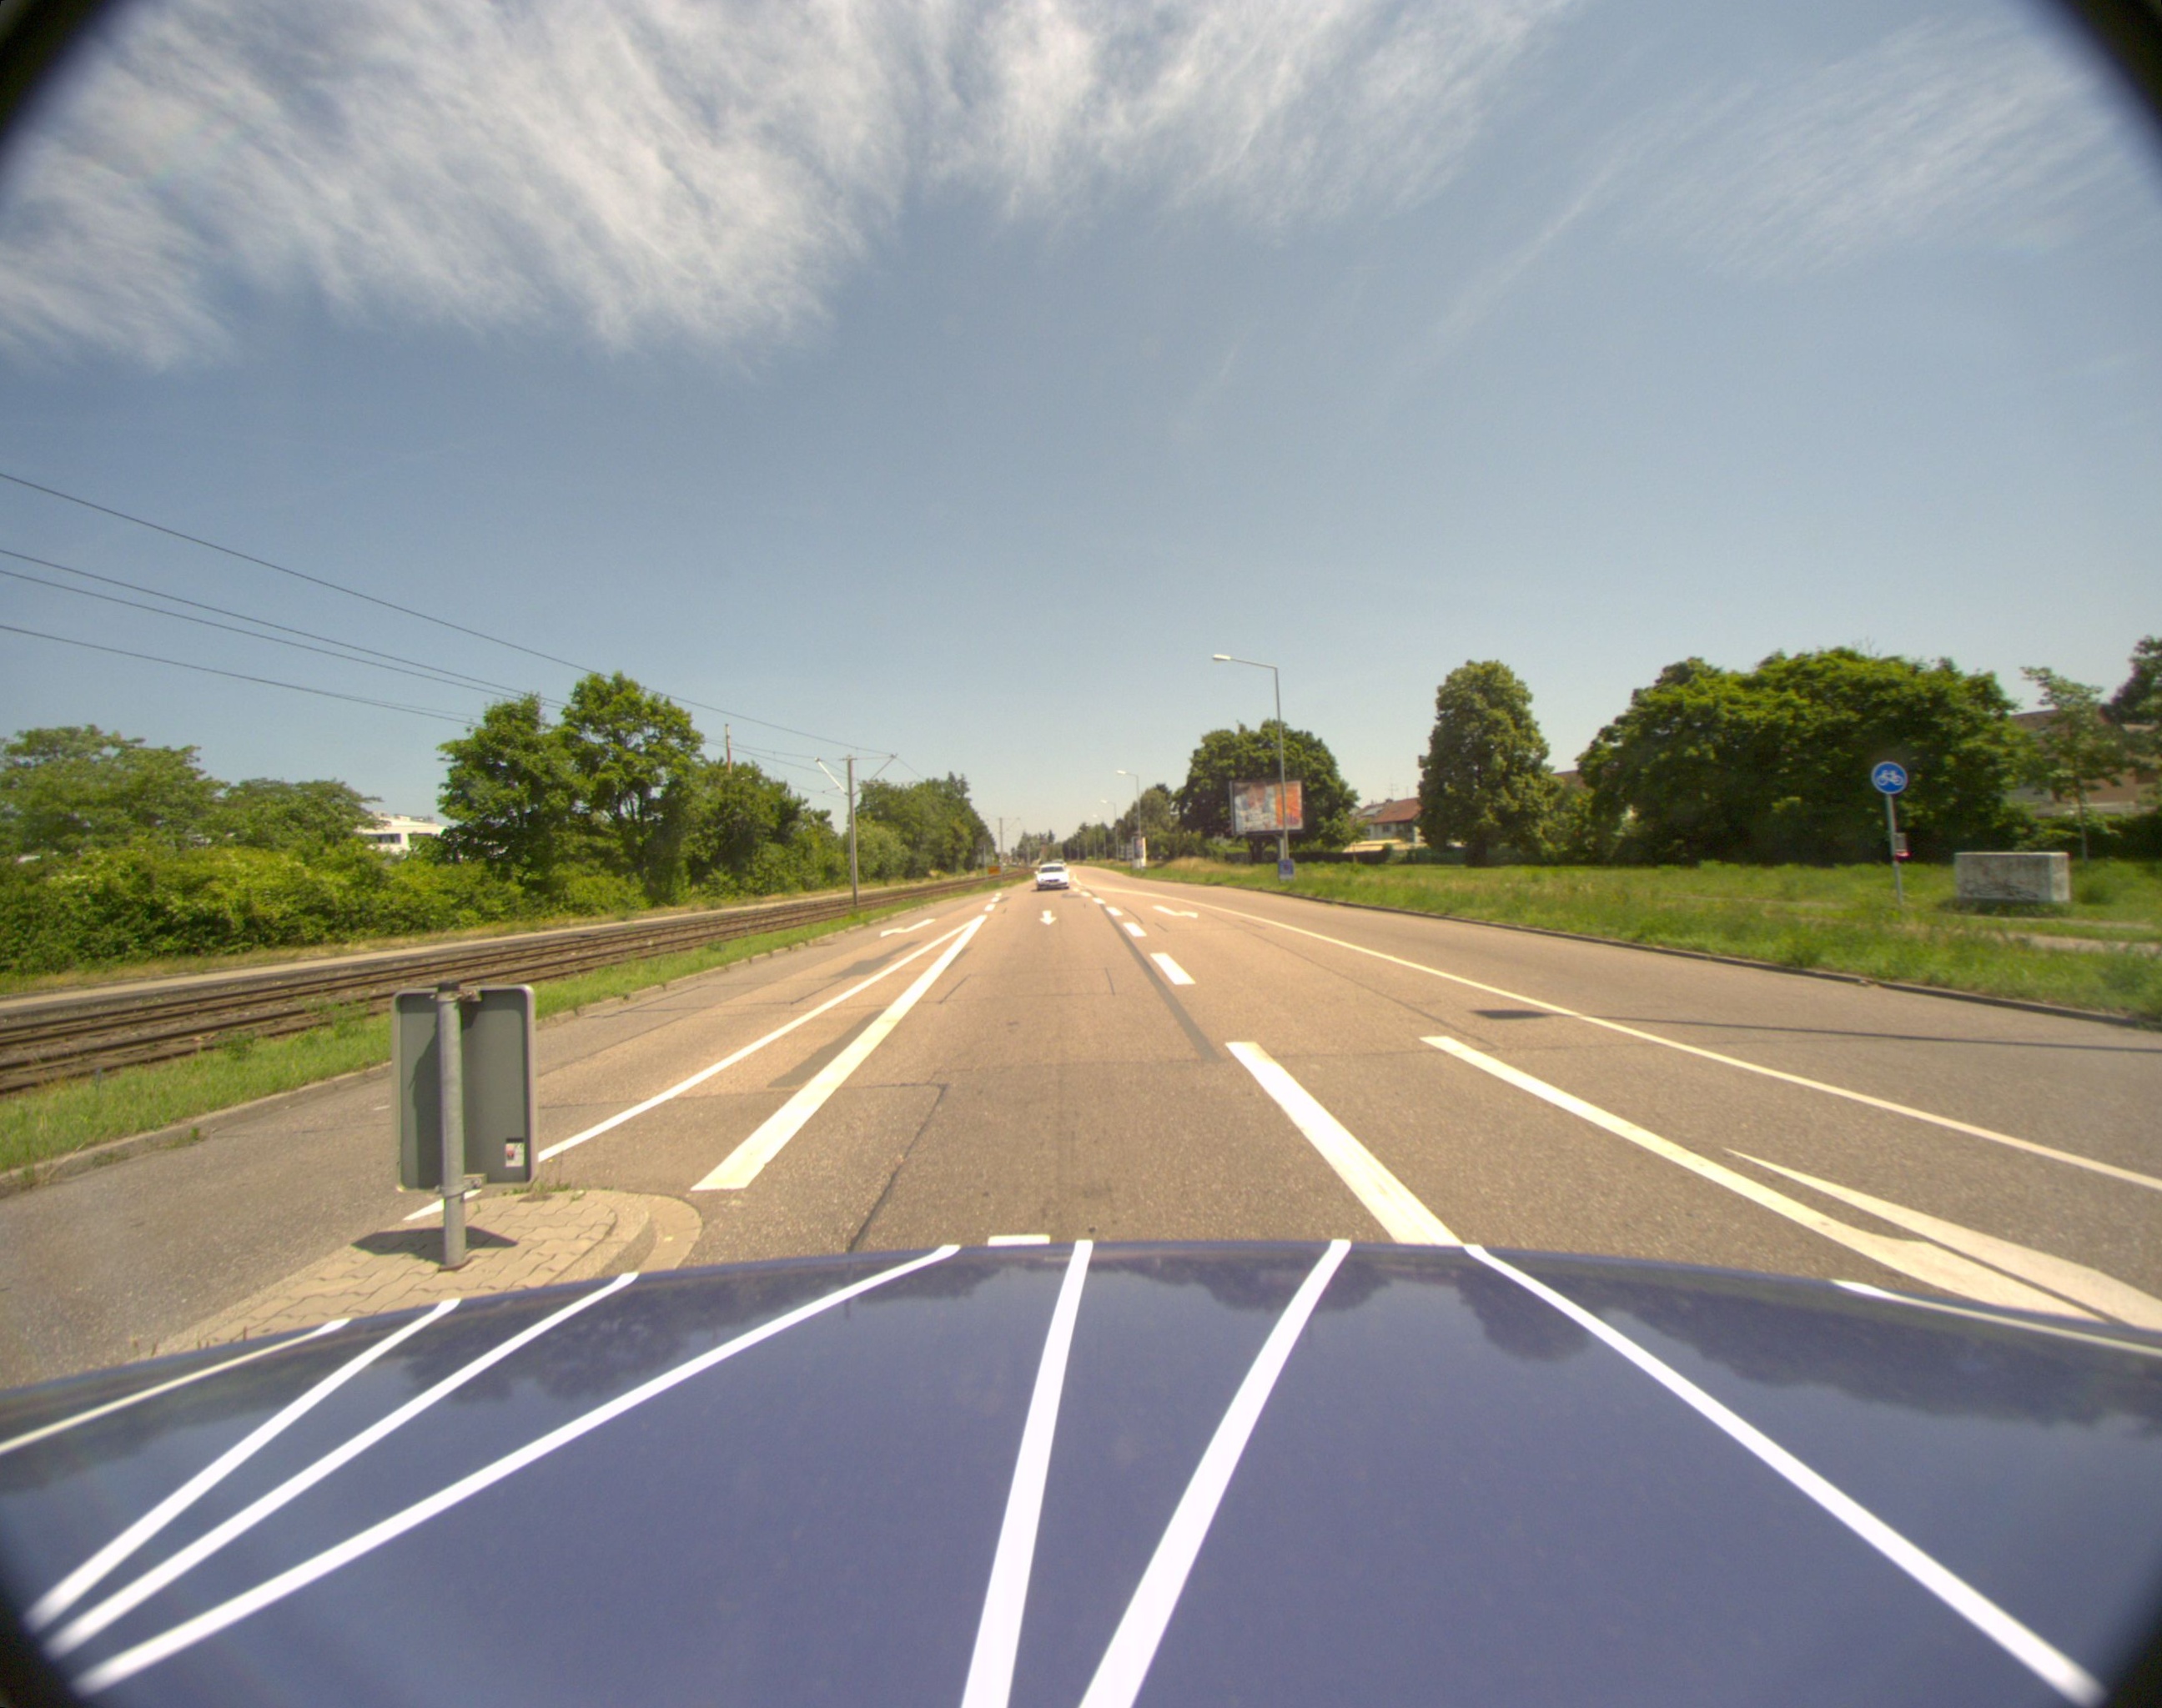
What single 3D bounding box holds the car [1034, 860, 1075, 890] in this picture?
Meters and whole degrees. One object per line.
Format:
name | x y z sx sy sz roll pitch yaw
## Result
car | -1.460 1.161 43.084 1.954 1.467 4.362 -3 0 2
